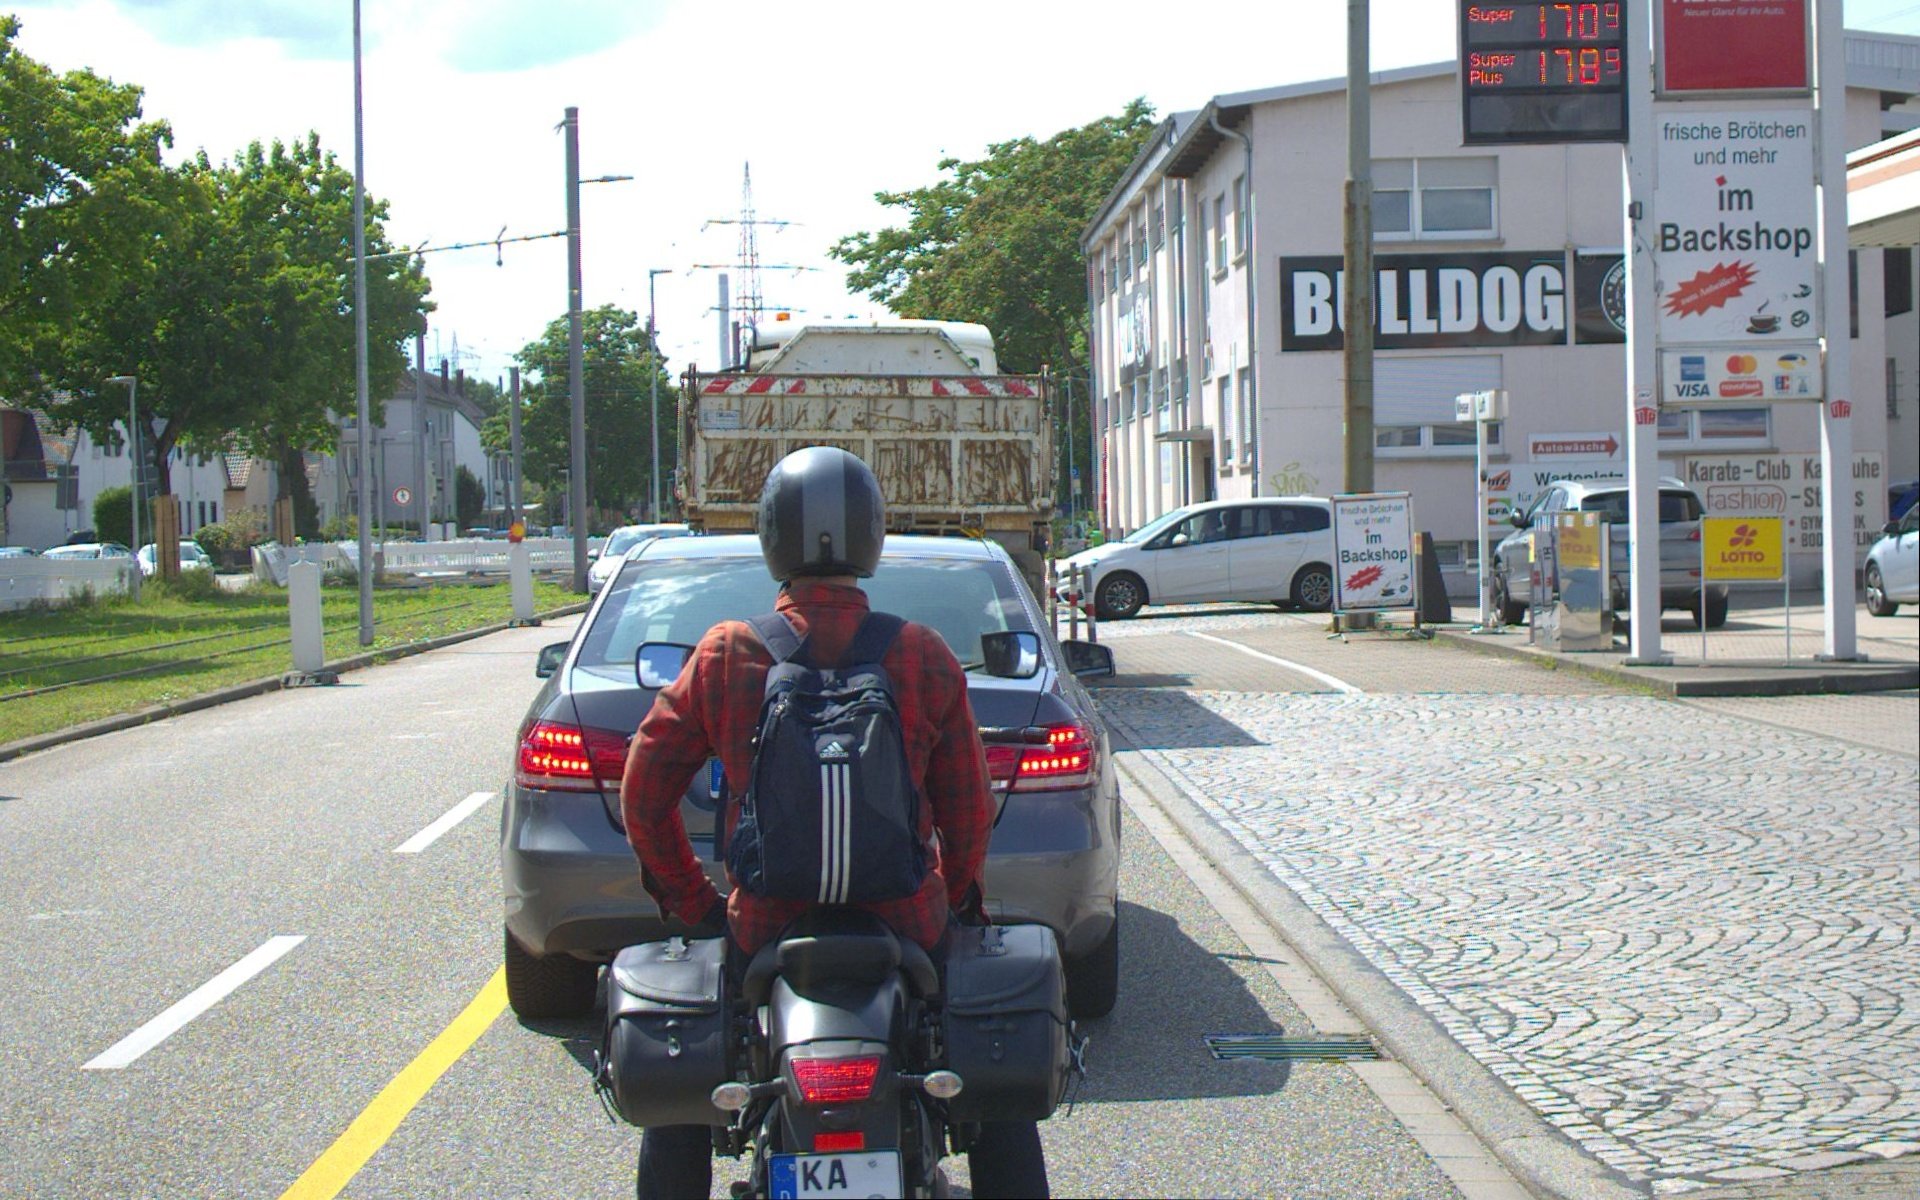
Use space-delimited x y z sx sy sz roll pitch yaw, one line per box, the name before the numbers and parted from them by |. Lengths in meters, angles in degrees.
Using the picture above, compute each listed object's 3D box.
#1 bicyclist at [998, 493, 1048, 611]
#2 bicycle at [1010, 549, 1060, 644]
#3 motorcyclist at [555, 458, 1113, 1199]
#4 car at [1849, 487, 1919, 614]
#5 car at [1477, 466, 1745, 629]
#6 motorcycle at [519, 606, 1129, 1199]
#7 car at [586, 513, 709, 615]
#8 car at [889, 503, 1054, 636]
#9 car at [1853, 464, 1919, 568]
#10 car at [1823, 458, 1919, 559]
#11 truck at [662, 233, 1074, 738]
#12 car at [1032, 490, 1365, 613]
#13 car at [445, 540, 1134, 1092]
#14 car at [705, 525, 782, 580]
bicyclist | 0.942 -0.723 51.516 0.671 1.738 0.814 -1 1 -1
bicycle | 1.147 -0.066 51.955 0.693 1.357 2.418 -1 2 2
motorcyclist | -0.228 0.557 6.503 0.939 1.609 1.205 1 1 -1
car | 11.623 -0.588 38.754 1.959 1.415 4.001 -2 1 -3
car | 7.121 -0.579 38.000 1.959 1.643 4.001 -2 1 -3
motorcycle | -0.236 0.705 6.687 0.939 1.316 2.645 1 1 -1
car | -4.784 -0.592 53.085 1.654 1.442 4.304 -2 2 -3
car | 0.115 -0.393 40.350 1.821 1.459 4.000 -1 2 0
car | 16.806 -1.425 55.886 3.987 1.643 1.966 -2 1 -1
car | 16.949 -1.591 58.434 3.987 1.643 1.966 -2 1 -1
truck | -0.627 -0.822 27.324 2.610 3.245 9.182 -2 1 0
car | 3.348 -0.687 48.642 4.329 1.546 1.950 -2 1 -9
car | -0.484 0.541 11.158 1.821 1.419 4.000 -1 2 -1
car | -5.793 -1.276 92.527 1.846 1.382 4.345 -2 1 -1
